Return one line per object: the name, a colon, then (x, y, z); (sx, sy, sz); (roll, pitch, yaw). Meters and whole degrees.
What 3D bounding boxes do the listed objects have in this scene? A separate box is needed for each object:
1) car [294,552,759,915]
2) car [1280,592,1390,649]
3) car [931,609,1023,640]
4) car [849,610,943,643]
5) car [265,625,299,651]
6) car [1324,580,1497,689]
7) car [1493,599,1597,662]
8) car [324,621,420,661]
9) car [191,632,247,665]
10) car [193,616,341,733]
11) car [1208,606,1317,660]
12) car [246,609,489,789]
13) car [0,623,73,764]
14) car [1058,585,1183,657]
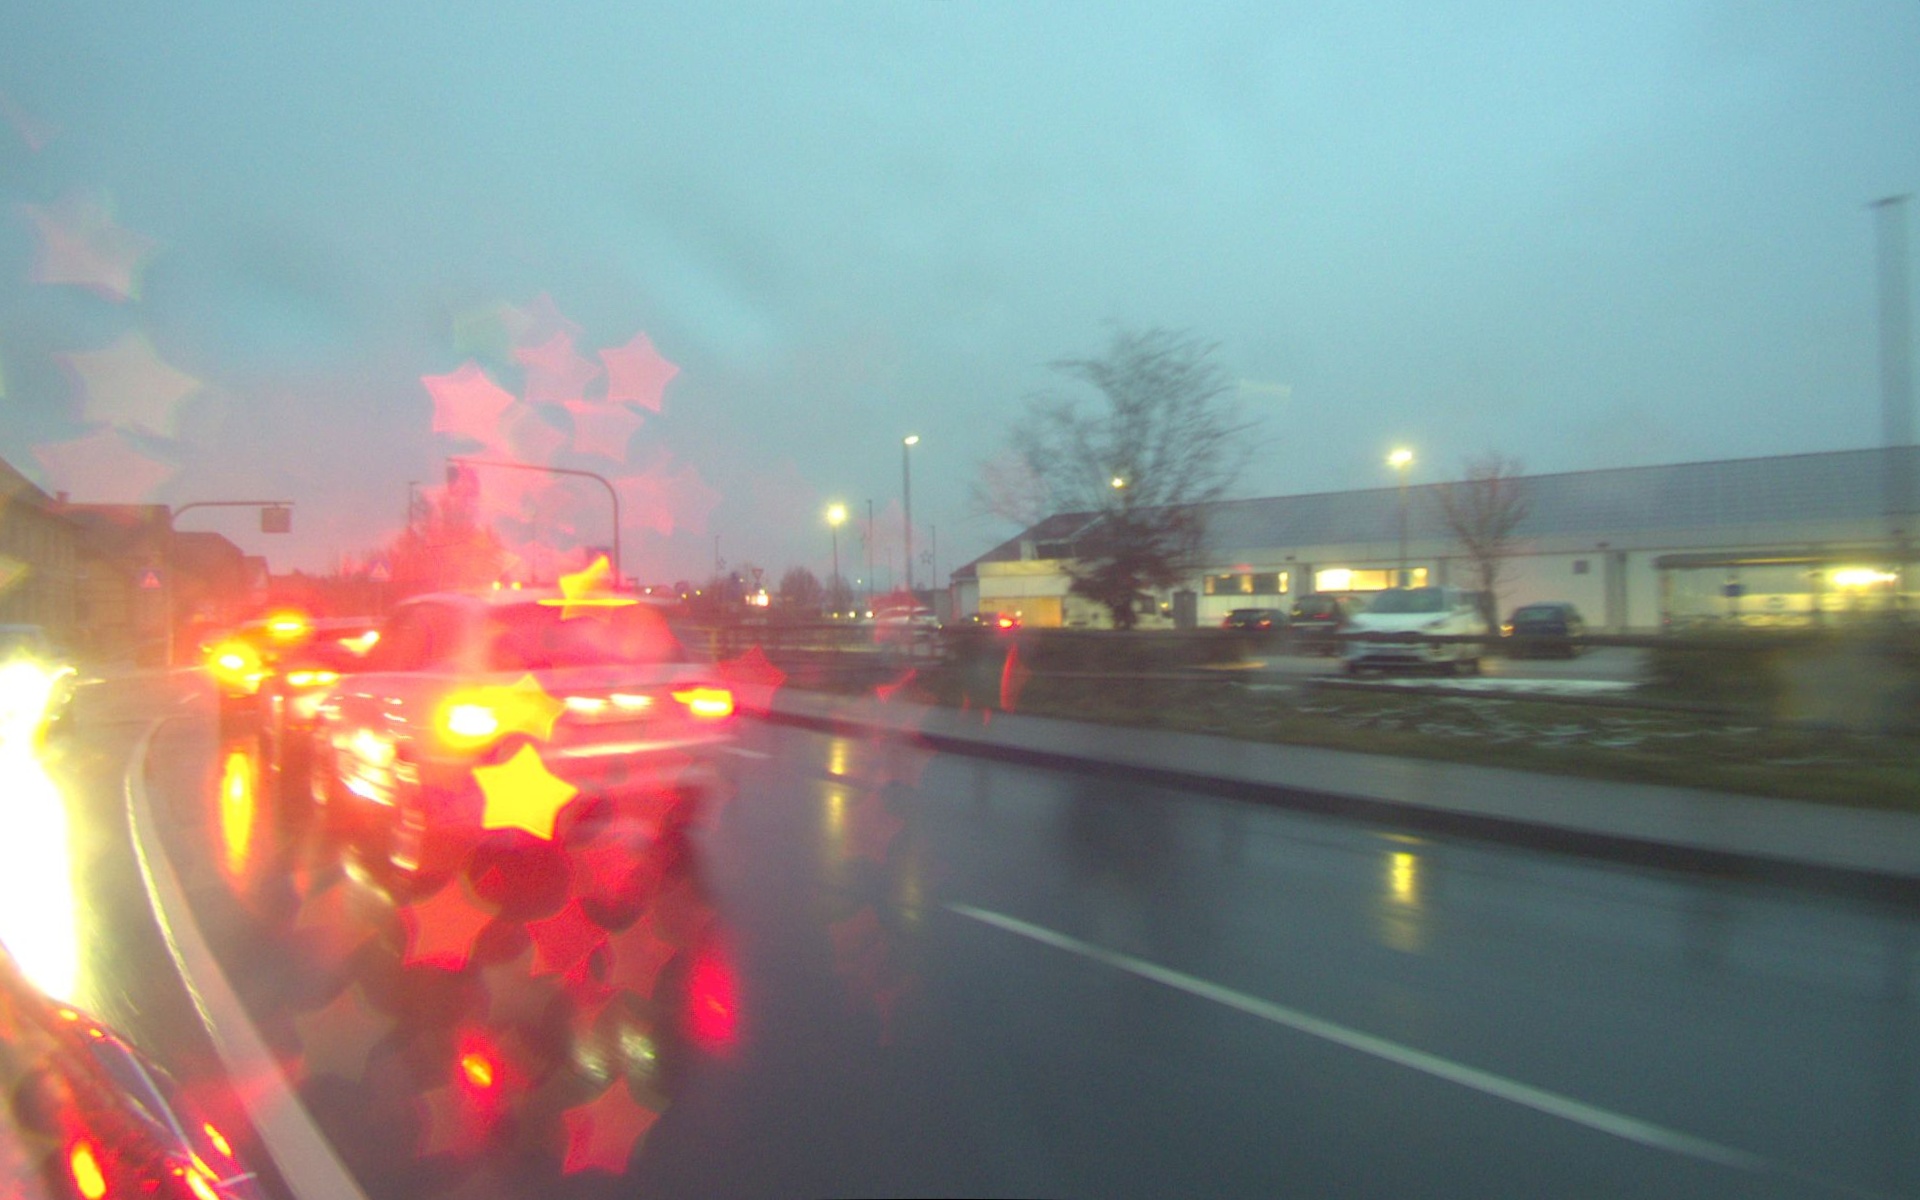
car: (-3.294, 0.711, 7.115); (1.749, 1.736, 4.428); (1, -2, -41)
car: (11.454, 0.648, 30.734); (2.051, 1.575, 4.391); (-3, -3, 35)
car: (0.867, 1.263, 53.169); (4.649, 1.548, 1.866); (-1, -1, 39)
car: (-3.205, 1.292, 49.926); (4.780, 1.548, 1.666); (-1, -1, 39)
car: (-52.156, 2.900, 77.866); (1.916, 1.819, 4.185); (-1, -1, -31)
car: (8.316, 0.568, 18.433); (2.028, 1.724, 4.730); (-2, -1, 34)
car: (16.177, 0.851, 27.878); (2.051, 1.575, 4.391); (-3, -3, 35)
car: (-24.645, 1.687, 42.609); (1.970, 1.484, 4.004); (-2, 0, -5)
car: (-35.857, 2.321, 49.052); (1.747, 1.441, 3.808); (-2, -1, -30)
car: (-10.530, 1.019, 15.401); (1.640, 1.497, 4.010); (-1, -1, -35)
car: (9.760, 1.066, 32.413); (2.051, 1.575, 4.391); (-3, -3, 35)
car: (-6.464, 0.903, 10.817); (1.748, 1.506, 4.050); (-1, -1, -37)
car: (-13.097, 1.167, 13.397); (1.748, 1.654, 4.430); (-1, -1, -38)
car: (5.652, 0.766, 35.015); (2.213, 2.300, 5.140); (-3, -3, 35)
